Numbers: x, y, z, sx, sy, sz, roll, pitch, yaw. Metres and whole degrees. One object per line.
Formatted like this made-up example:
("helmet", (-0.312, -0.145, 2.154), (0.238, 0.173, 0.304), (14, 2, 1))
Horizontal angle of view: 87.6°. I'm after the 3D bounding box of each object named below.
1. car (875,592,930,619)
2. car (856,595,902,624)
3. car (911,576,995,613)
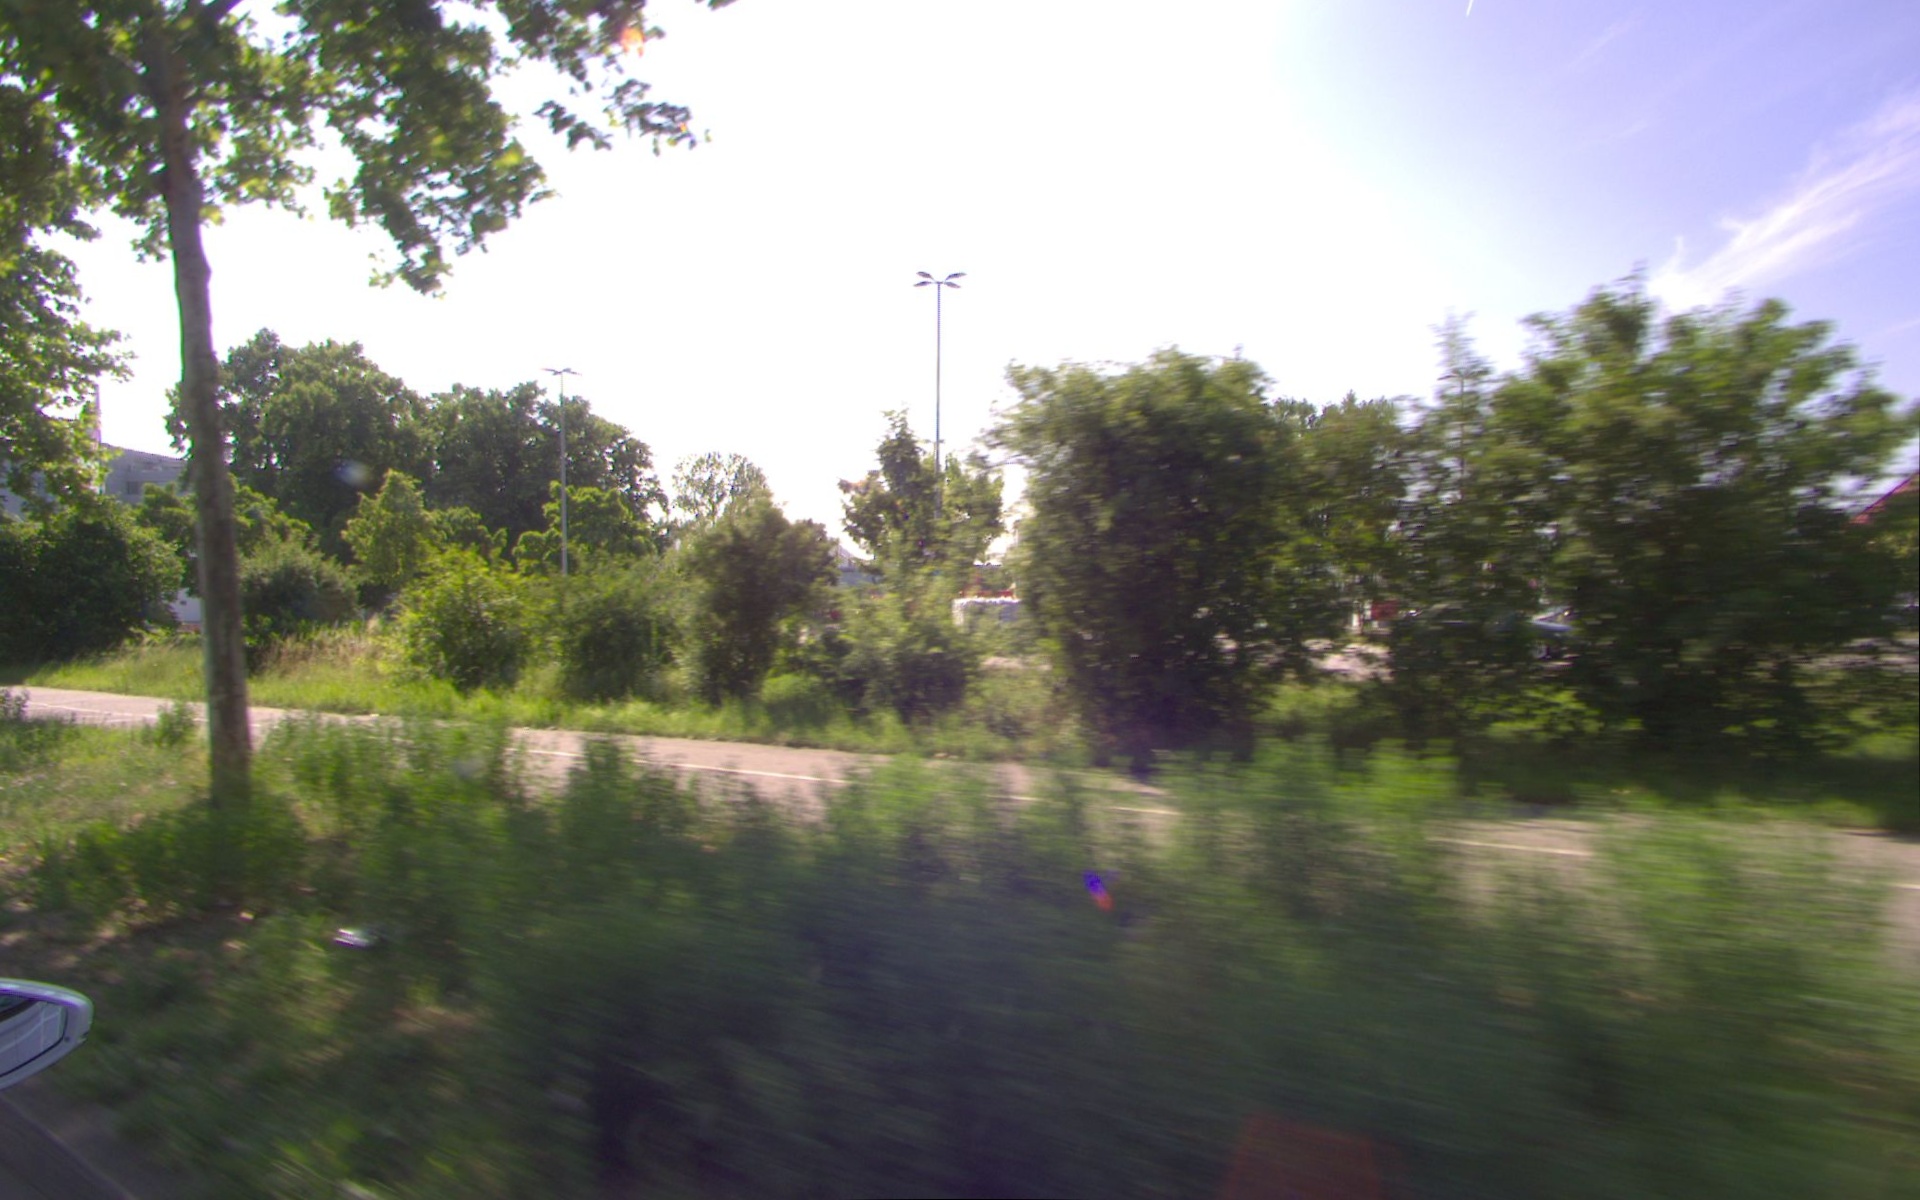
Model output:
("car", (-5.109, 0.495, 89.712), (4.713, 2.279, 2.000), (-1, 0, 3))
("car", (-7.729, 0.899, 95.669), (4.317, 2.632, 1.999), (-1, 0, -4))
("car", (-0.545, -0.405, 73.566), (6.059, 2.598, 2.000), (0, 0, -4))
